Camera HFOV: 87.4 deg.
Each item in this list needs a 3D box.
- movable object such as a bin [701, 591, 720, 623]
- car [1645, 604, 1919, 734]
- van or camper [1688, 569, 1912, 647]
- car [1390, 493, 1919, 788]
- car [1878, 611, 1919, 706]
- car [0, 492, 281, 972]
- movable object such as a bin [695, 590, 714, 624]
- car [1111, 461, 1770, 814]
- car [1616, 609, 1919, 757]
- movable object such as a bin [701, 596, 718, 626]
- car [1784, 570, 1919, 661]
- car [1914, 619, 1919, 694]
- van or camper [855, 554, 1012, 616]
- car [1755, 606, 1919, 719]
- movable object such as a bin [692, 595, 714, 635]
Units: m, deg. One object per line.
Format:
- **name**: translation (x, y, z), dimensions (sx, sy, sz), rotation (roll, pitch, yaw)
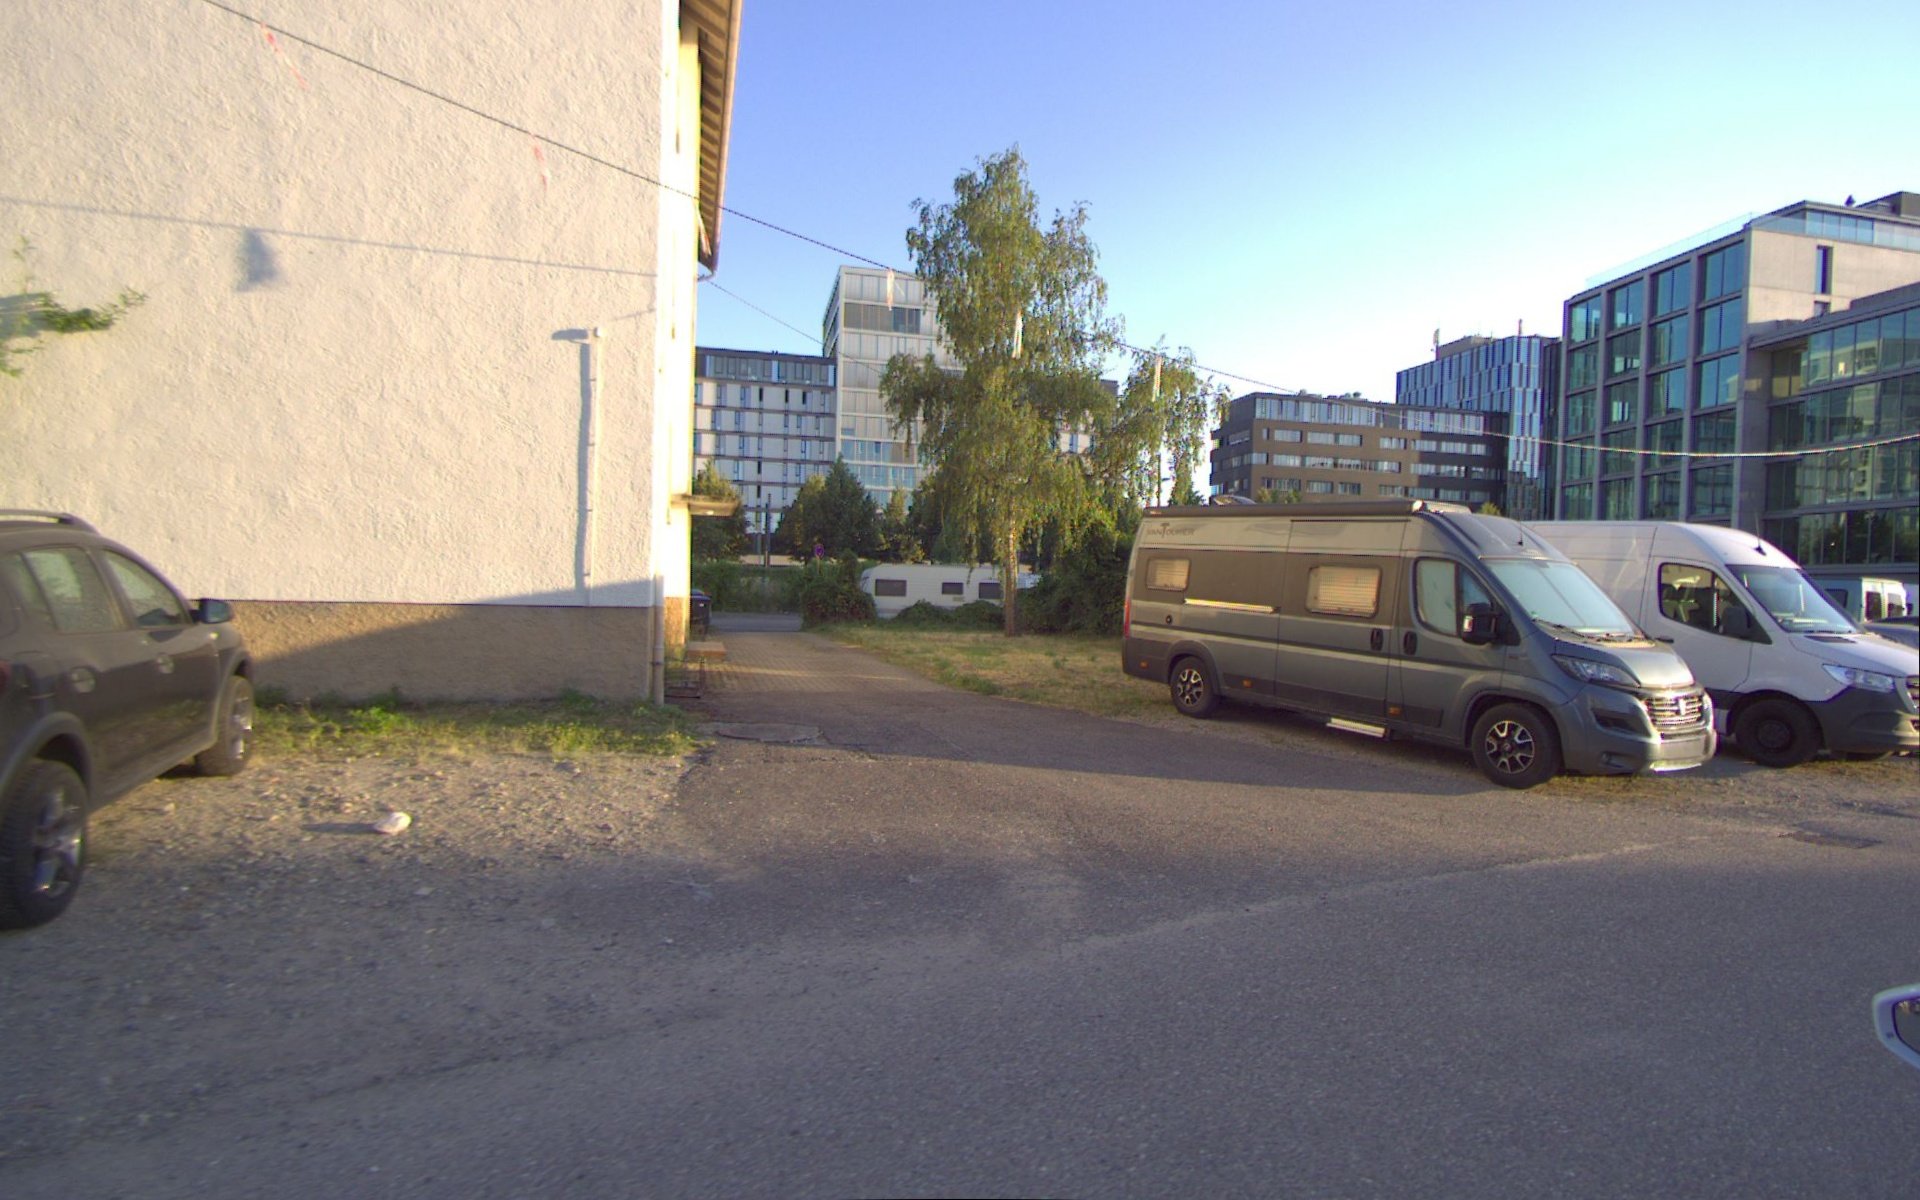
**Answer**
- **movable object such as a bin**: translation (-7.132, 0.199, 28.708), dimensions (0.436, 0.927, 0.324), rotation (1, 0, -30)
- **car**: translation (12.929, 0.974, 15.144), dimensions (1.724, 1.612, 3.913), rotation (3, 1, -25)
- **van or camper**: translation (22.880, 0.149, 27.603), dimensions (1.901, 1.916, 4.335), rotation (1, 2, -16)
- **car**: translation (8.469, 0.235, 12.383), dimensions (2.024, 2.750, 5.803), rotation (1, 3, -27)
- **car**: translation (17.821, 1.125, 16.186), dimensions (1.720, 1.612, 4.124), rotation (1, 3, -17)
- **car**: translation (-4.827, 0.346, 4.890), dimensions (1.723, 1.674, 3.916), rotation (1, 3, -22)
- **movable object such as a bin**: translation (-7.147, 0.197, 28.125), dimensions (0.436, 0.927, 0.324), rotation (1, 0, -30)
- **car**: translation (4.552, 0.158, 11.068), dimensions (2.089, 2.749, 6.356), rotation (2, 2, -30)
- **car**: translation (11.037, 0.985, 12.995), dimensions (1.765, 1.527, 3.914), rotation (2, 1, -24)
- **movable object such as a bin**: translation (-7.948, 0.347, 31.902), dimensions (0.436, 0.927, 0.324), rotation (1, 0, -30)
- **car**: translation (29.657, 0.480, 31.076), dimensions (2.186, 2.709, 6.243), rotation (1, 2, -14)
- **car**: translation (20.089, 1.138, 17.877), dimensions (1.723, 1.612, 4.117), rotation (2, 2, -22)
- **van or camper**: translation (-0.982, -0.531, 36.705), dimensions (5.487, 2.087, 1.769), rotation (1, 0, -14)
- **car**: translation (15.079, 0.987, 15.651), dimensions (1.720, 1.612, 3.924), rotation (1, 1, -17)
- **movable object such as a bin**: translation (-6.380, 0.376, 24.913), dimensions (0.436, 0.981, 0.324), rotation (1, 0, -30)
